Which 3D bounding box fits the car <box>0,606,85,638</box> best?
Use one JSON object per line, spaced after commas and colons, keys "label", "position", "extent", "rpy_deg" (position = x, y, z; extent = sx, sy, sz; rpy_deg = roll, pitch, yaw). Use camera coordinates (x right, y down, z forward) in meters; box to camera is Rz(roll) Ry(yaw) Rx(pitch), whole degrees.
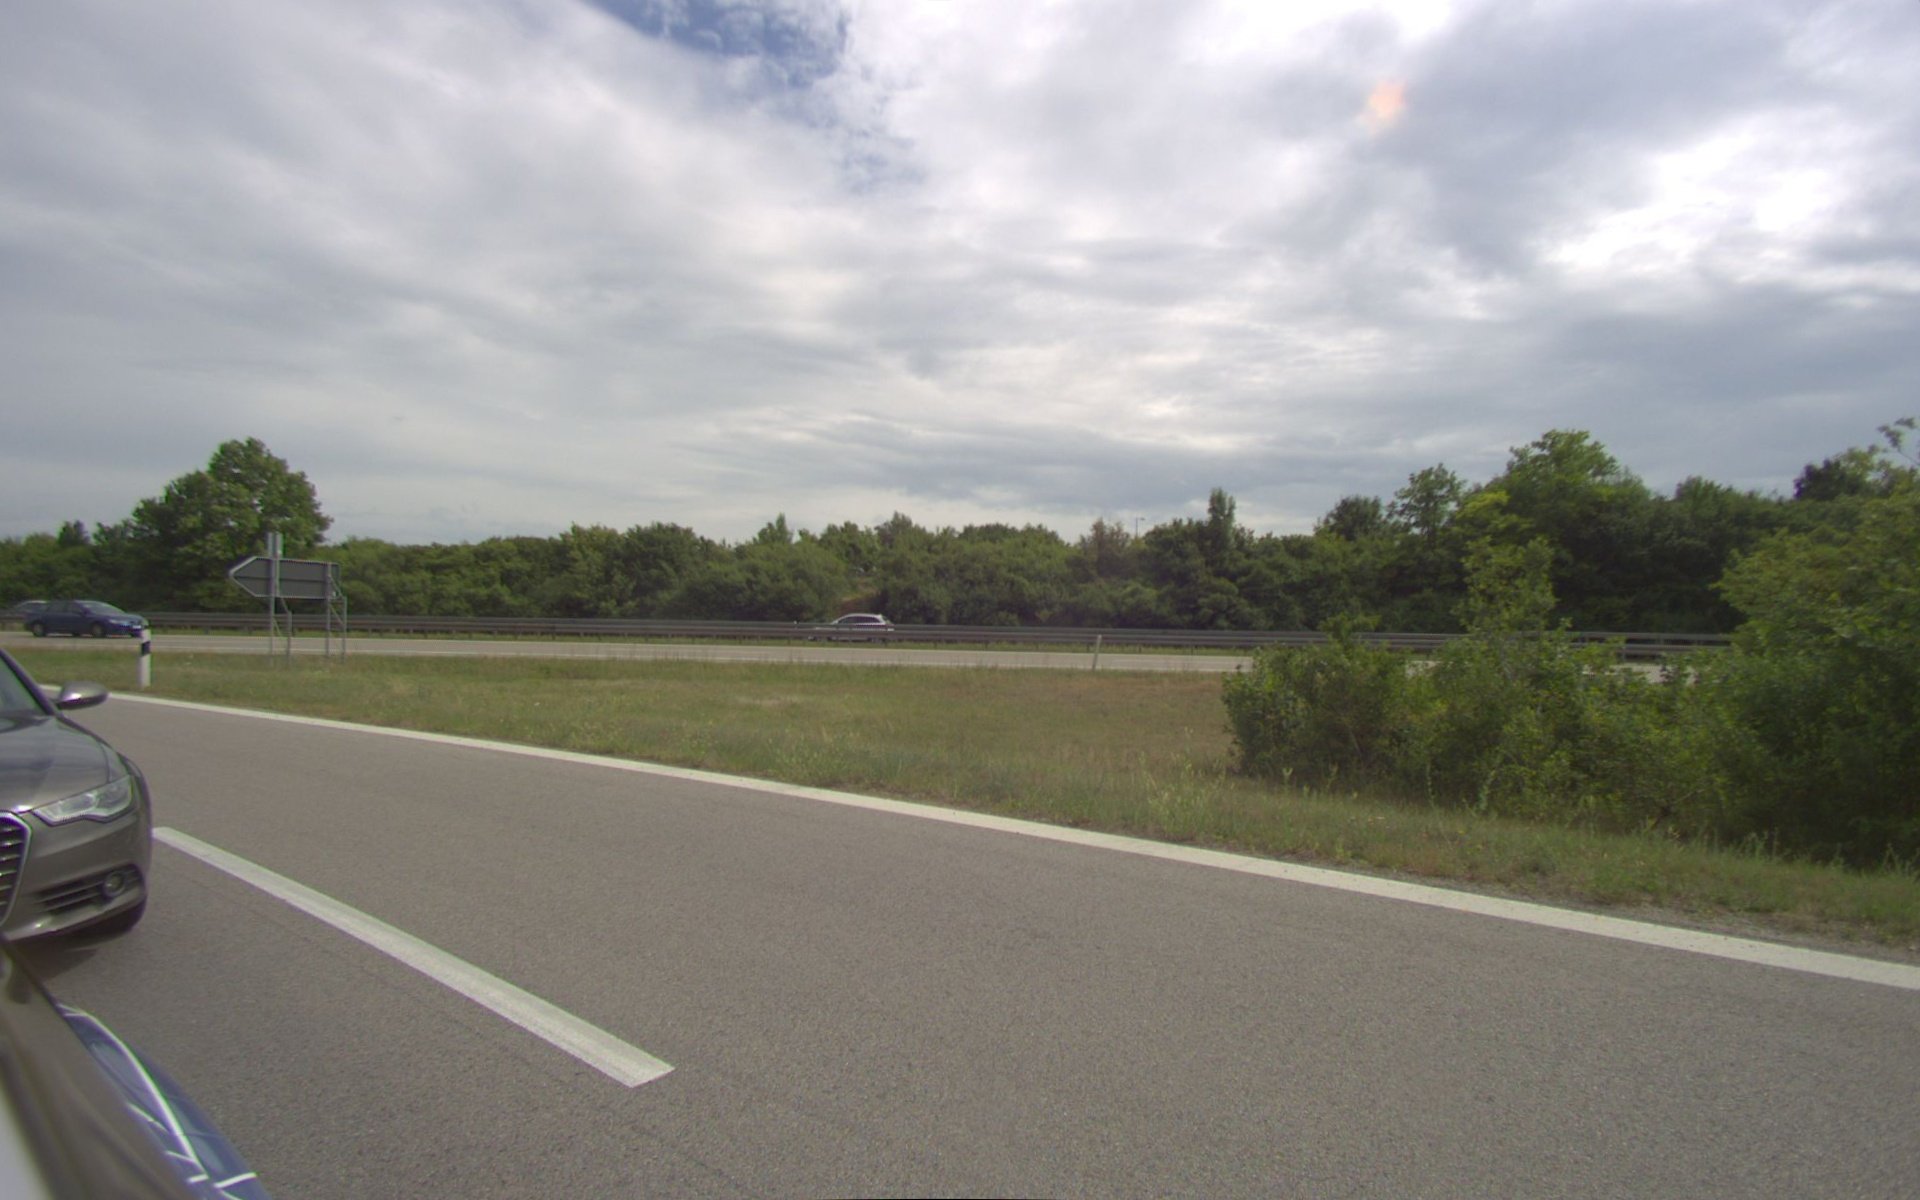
{"label": "car", "position": [-45.410, 1.065, 49.836], "extent": [3.478, 1.520, 1.538], "rpy_deg": [1, -1, 5]}

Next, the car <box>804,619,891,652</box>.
{"label": "car", "position": [-5.500, 1.721, 49.730], "extent": [3.950, 1.497, 1.810], "rpy_deg": [1, 0, 5]}

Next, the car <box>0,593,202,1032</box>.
{"label": "car", "position": [-5.335, 0.767, 4.669], "extent": [4.535, 1.526, 1.973], "rpy_deg": [-1, -1, 40]}

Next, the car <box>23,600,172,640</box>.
{"label": "car", "position": [-33.534, 0.772, 39.394], "extent": [4.406, 1.434, 1.995], "rpy_deg": [1, 0, 8]}
